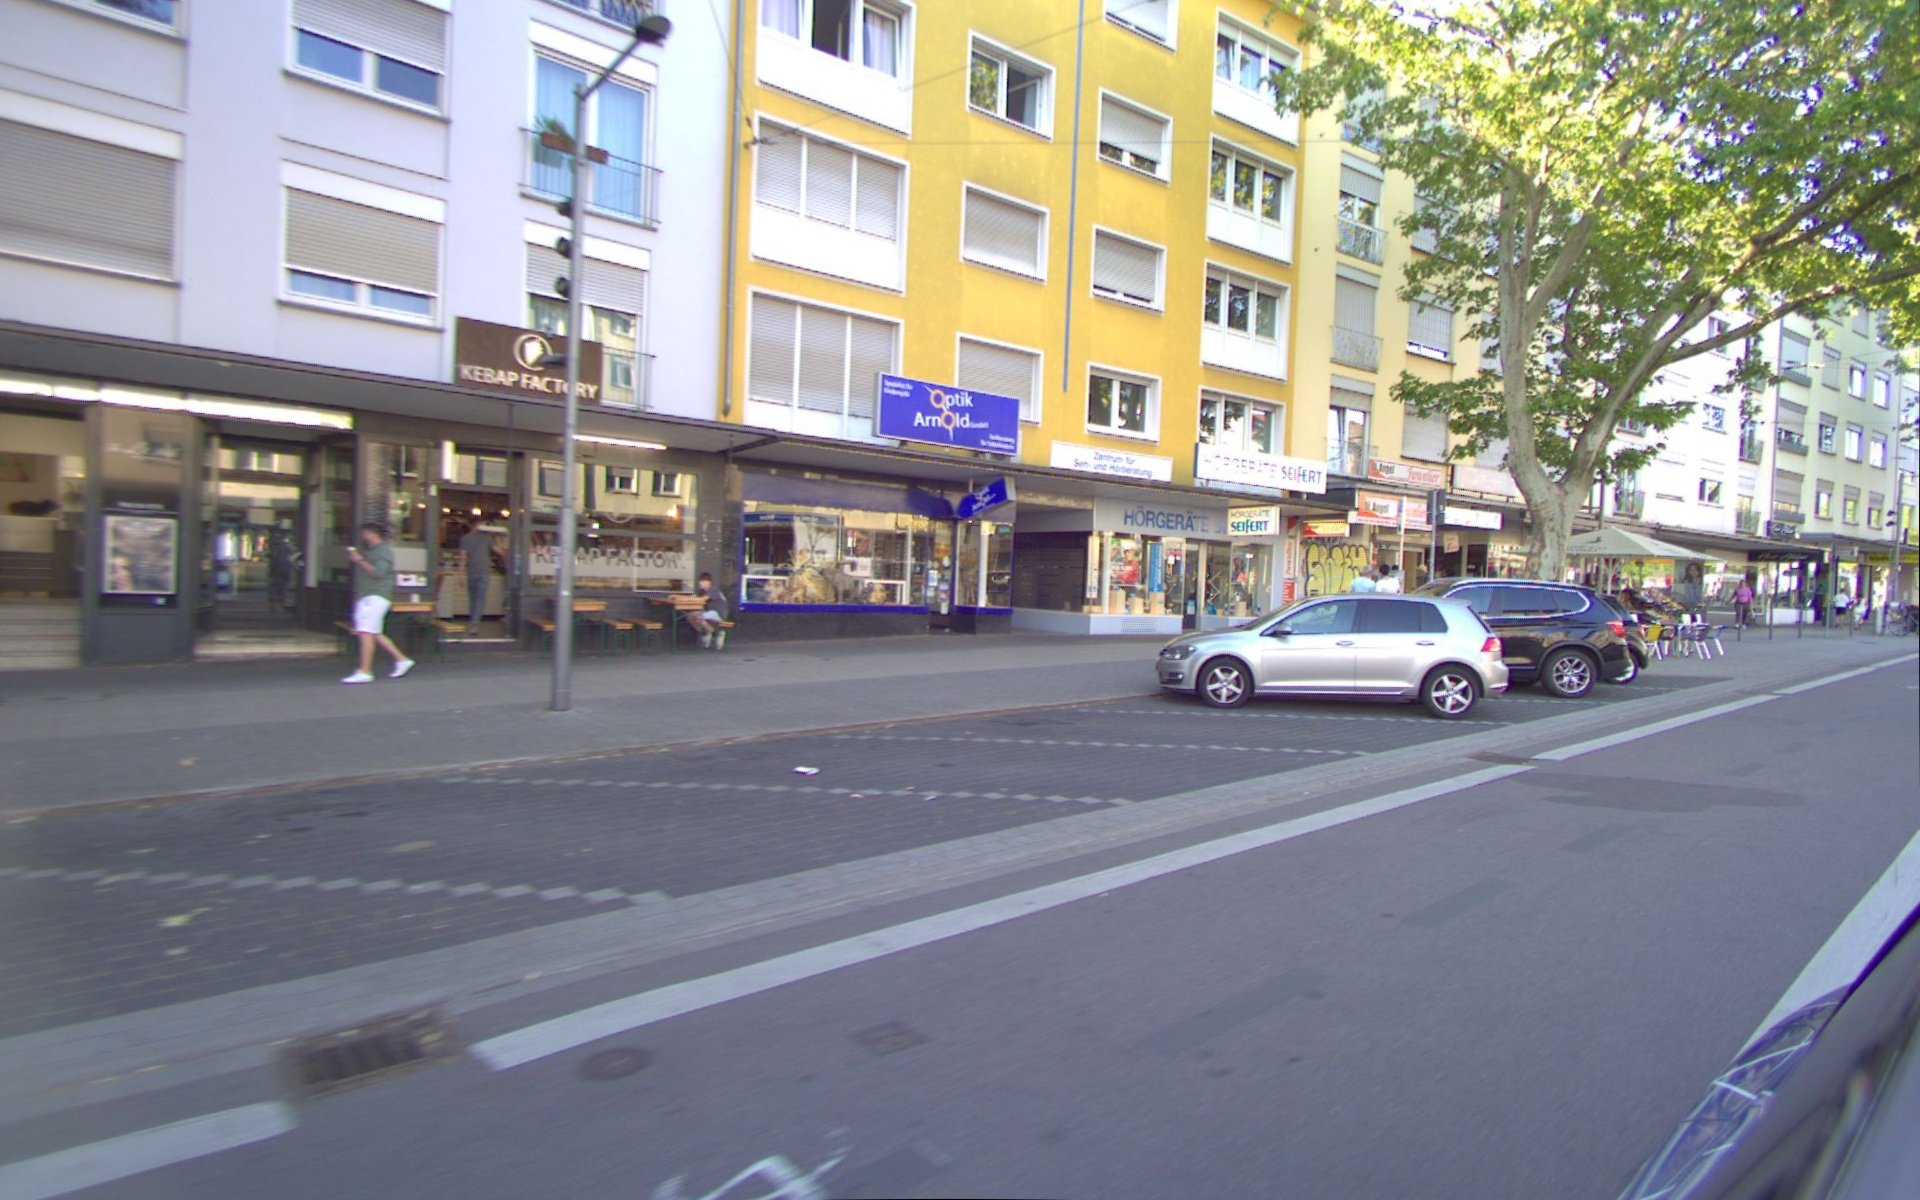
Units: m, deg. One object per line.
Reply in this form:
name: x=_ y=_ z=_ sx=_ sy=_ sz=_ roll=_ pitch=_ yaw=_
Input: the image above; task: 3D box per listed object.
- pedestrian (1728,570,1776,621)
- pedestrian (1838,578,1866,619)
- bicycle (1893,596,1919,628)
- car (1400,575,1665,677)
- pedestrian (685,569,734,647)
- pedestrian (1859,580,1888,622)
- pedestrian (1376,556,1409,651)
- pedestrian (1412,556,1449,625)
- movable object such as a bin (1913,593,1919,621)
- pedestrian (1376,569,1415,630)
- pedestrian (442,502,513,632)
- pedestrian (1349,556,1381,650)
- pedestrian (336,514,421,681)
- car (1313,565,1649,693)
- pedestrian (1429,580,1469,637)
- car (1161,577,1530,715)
pedestrian: x=28.774 y=-0.163 z=36.779 sx=1.111 sy=1.784 sz=0.972 roll=0 pitch=3 yaw=-32
pedestrian: x=35.969 y=-0.051 z=40.796 sx=0.615 sy=1.605 sz=0.624 roll=0 pitch=4 yaw=-34
bicycle: x=35.672 y=0.503 z=37.196 sx=0.507 sy=1.118 sz=1.918 roll=1 pitch=4 yaw=-27
car: x=9.766 y=0.390 z=17.547 sx=3.550 sy=1.559 sz=1.737 roll=2 pitch=2 yaw=10
pedestrian: x=-3.886 y=0.112 z=15.717 sx=0.614 sy=1.171 sz=0.419 roll=0 pitch=2 yaw=-37
pedestrian: x=36.323 y=0.027 z=40.250 sx=0.615 sy=1.605 sz=0.638 roll=0 pitch=4 yaw=-34
pedestrian: x=8.561 y=0.056 z=20.028 sx=0.512 sy=1.855 sz=0.470 roll=2 pitch=2 yaw=28
pedestrian: x=12.586 y=-0.256 z=27.102 sx=0.614 sy=1.826 sz=0.638 roll=1 pitch=1 yaw=-4
movable object such as a bin: x=38.893 y=0.301 z=40.580 sx=0.630 sy=1.085 sz=0.726 roll=1 pitch=3 yaw=-15
pedestrian: x=11.679 y=-0.027 z=27.154 sx=0.624 sy=1.564 sz=0.628 roll=1 pitch=5 yaw=-9
pedestrian: x=-7.342 y=-0.504 z=15.398 sx=0.725 sy=1.900 sz=0.911 roll=0 pitch=2 yaw=-44
pedestrian: x=8.173 y=0.045 z=20.425 sx=0.512 sy=1.855 sz=0.470 roll=2 pitch=2 yaw=28
pedestrian: x=-6.645 y=-0.046 z=11.554 sx=0.773 sy=1.812 sz=0.710 roll=0 pitch=5 yaw=-35
car: x=7.662 y=0.364 z=15.285 sx=4.084 sy=1.701 sz=1.805 roll=2 pitch=2 yaw=10
pedestrian: x=11.317 y=0.179 z=23.422 sx=0.745 sy=1.291 sz=0.584 roll=0 pitch=0 yaw=-40
car: x=4.688 y=0.500 z=12.946 sx=4.114 sy=1.469 sz=1.803 roll=2 pitch=2 yaw=13
